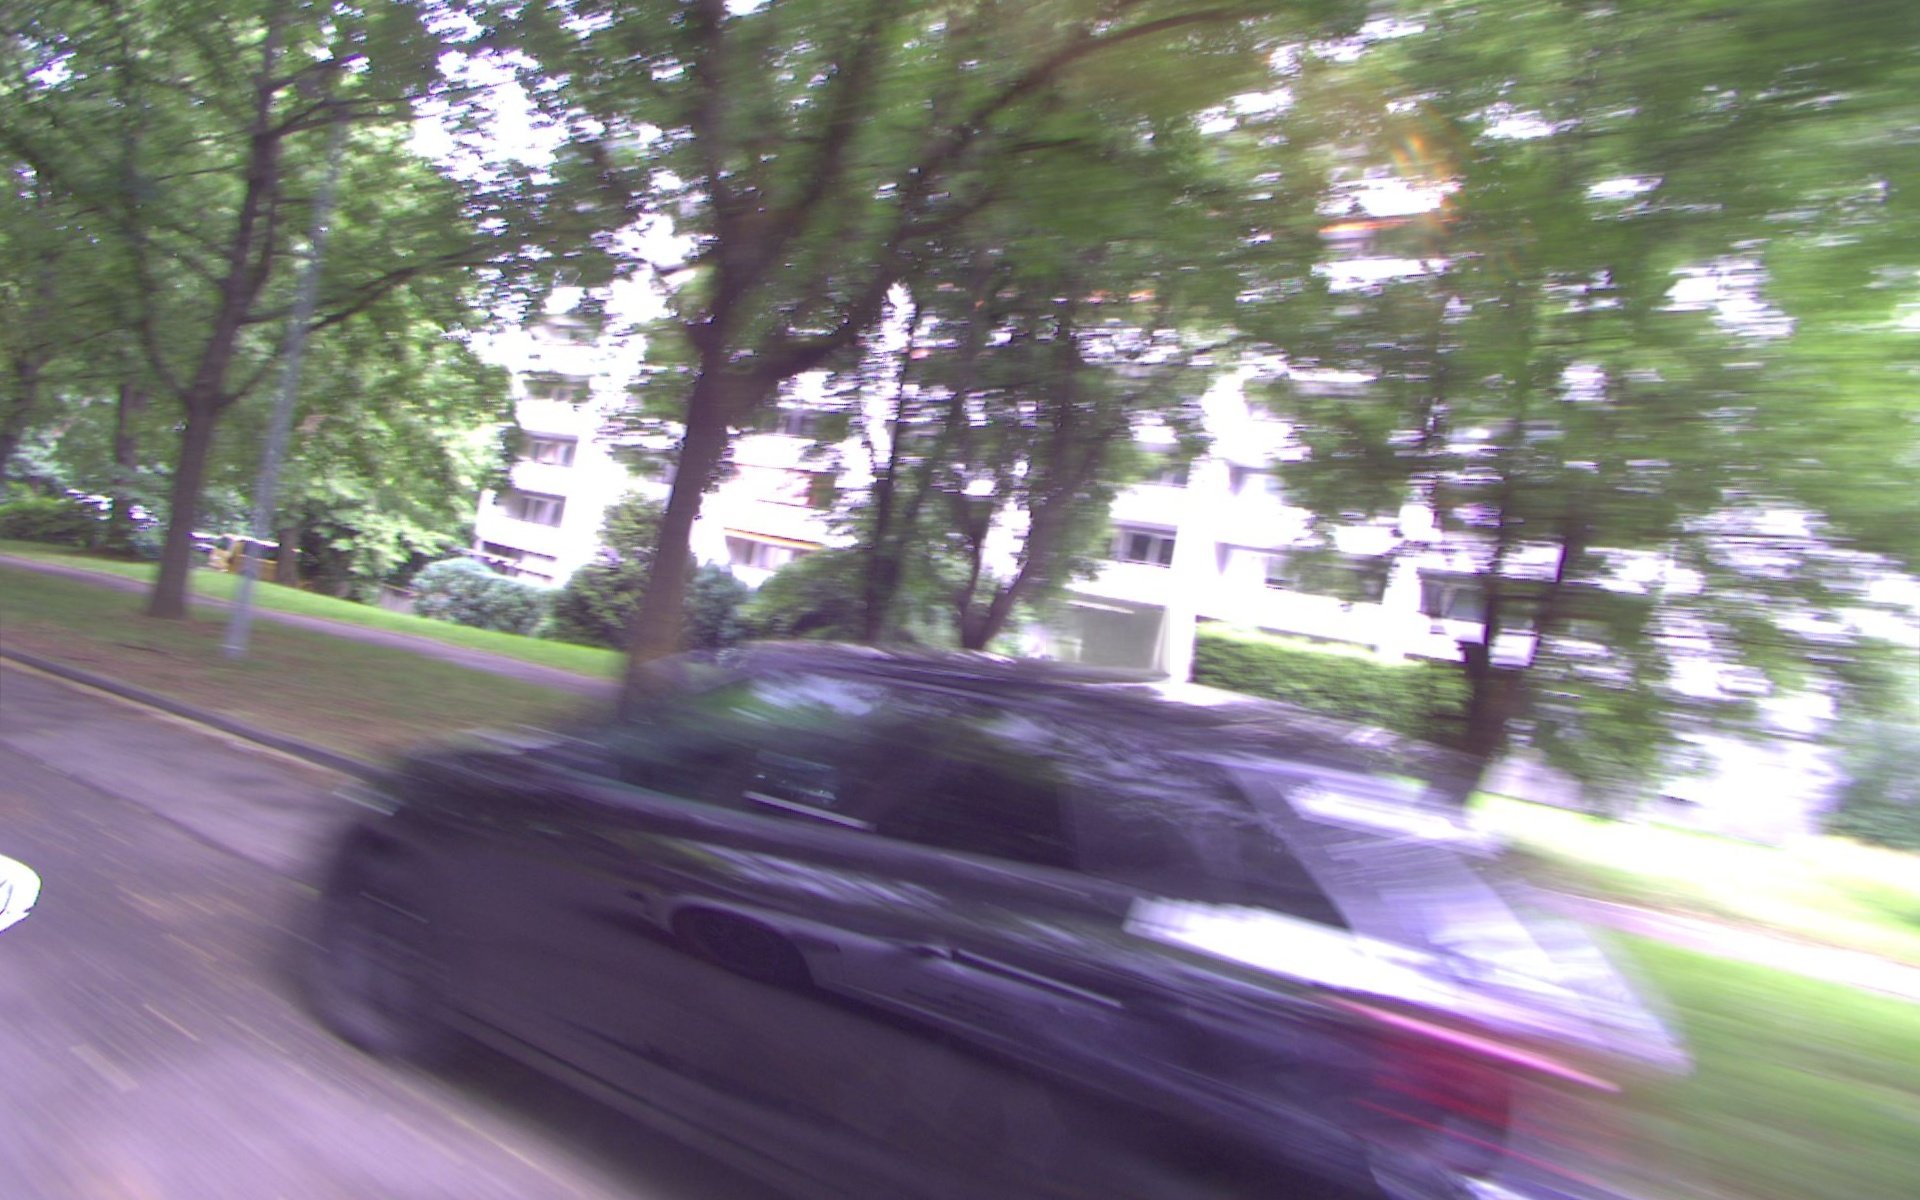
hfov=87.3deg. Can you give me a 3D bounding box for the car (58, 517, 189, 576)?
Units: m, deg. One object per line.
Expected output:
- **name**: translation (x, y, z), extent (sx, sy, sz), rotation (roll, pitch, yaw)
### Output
- **car**: translation (-33.343, -2.106, 40.167), extent (1.803, 1.587, 3.523), rotation (8, -3, 36)

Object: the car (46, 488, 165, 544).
- **car**: translation (-45.591, -4.446, 53.786), extent (1.965, 2.035, 4.220), rotation (8, -3, 28)

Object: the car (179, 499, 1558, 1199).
- **car**: translation (-0.464, 0.718, 3.179), extent (3.831, 1.480, 1.687), rotation (8, -2, 30)

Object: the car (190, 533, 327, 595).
- **car**: translation (-30.692, -1.534, 44.158), extent (1.802, 1.868, 4.409), rotation (8, -3, 32)
